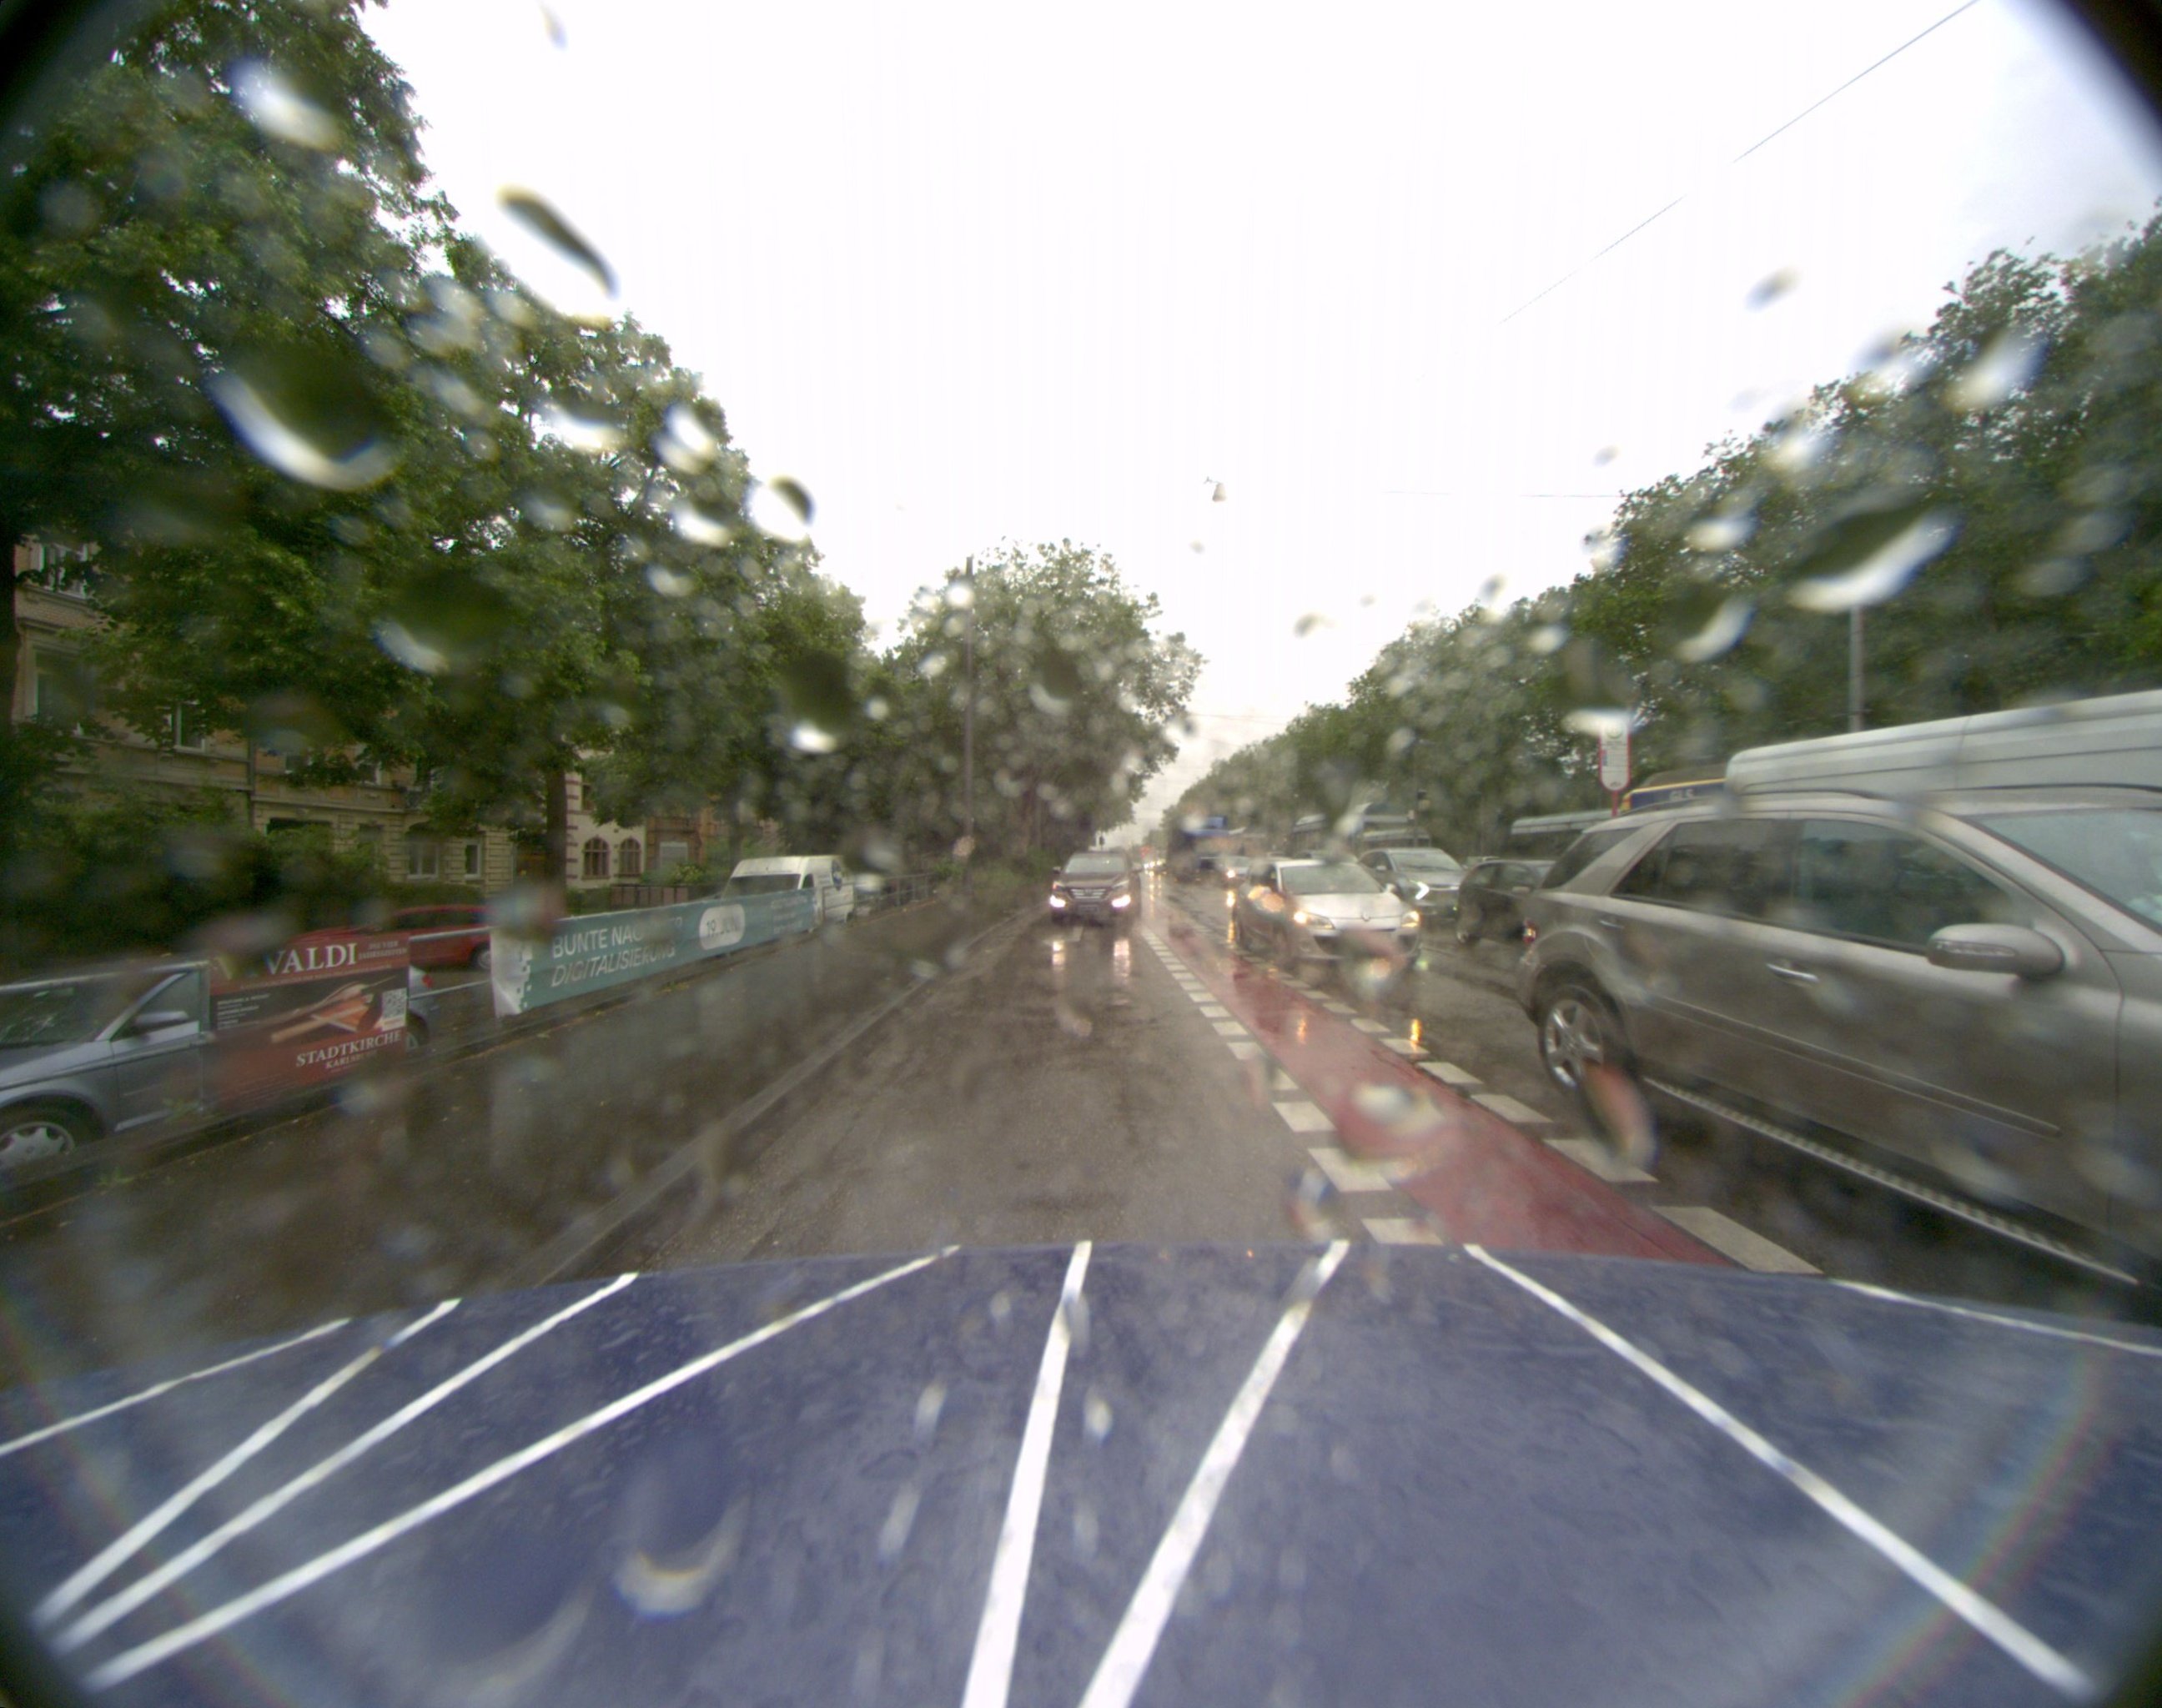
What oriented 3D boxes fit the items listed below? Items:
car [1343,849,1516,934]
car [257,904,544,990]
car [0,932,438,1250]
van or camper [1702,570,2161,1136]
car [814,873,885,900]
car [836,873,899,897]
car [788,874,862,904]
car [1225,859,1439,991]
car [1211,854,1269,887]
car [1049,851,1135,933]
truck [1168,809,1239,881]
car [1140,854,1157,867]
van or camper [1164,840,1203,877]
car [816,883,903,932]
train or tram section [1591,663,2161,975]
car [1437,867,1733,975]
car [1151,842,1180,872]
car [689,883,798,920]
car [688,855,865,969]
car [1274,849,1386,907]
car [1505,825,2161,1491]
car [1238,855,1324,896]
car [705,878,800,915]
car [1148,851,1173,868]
[{"bbox_3d":[7.433,0.709,16.775,1.919,1.614,4.454,0,0,2],"label":"car"},{"bbox_3d":[-14.619,1.938,16.745,4.439,1.444,1.894,0,-1,-32],"label":"car"},{"bbox_3d":[-7.226,1.576,5.447,1.736,1.530,4.074,-2,0,-1],"label":"car"},{"bbox_3d":[7.043,-0.008,4.319,2.164,3.123,5.850,0,0,-1],"label":"van or camper"},{"bbox_3d":[-15.319,2.122,50.270,4.007,1.557,1.995,-2,1,-34],"label":"car"},{"bbox_3d":[-15.532,2.239,55.361,4.007,1.455,1.908,-2,1,-34],"label":"car"},{"bbox_3d":[-15.714,2.123,46.669,4.006,1.600,1.821,-2,1,-31],"label":"car"},{"bbox_3d":[3.386,0.866,11.097,1.772,1.469,4.000,-2,0,0],"label":"car"},{"bbox_3d":[7.588,0.741,36.647,1.895,1.478,4.077,-1,0,-1],"label":"car"},{"bbox_3d":[0.303,0.784,17.730,1.756,1.657,3.678,-2,0,2],"label":"car"},{"bbox_3d":[7.272,-0.510,46.475,2.545,3.866,9.810,1,0,-1],"label":"truck"},{"bbox_3d":[7.101,0.674,79.909,1.467,1.185,3.615,-2,0,0],"label":"car"},{"bbox_3d":[7.639,0.307,57.115,1.998,2.555,6.431,-3,0,0],"label":"van or camper"},{"bbox_3d":[-7.828,1.855,27.292,1.972,1.345,4.383,-3,0,-3],"label":"car"},{"bbox_3d":[13.899,-0.478,11.278,3.522,3.492,13.658,-3,0,1],"label":"train or tram section"},{"bbox_3d":[6.746,0.802,10.770,1.467,1.111,4.087,-2,0,0],"label":"car"},{"bbox_3d":[7.263,0.238,65.564,1.998,2.412,5.727,-3,0,3],"label":"car"},{"bbox_3d":[-14.852,2.053,33.505,4.269,1.372,1.687,-1,1,-27],"label":"car"},{"bbox_3d":[-7.696,1.301,20.102,2.214,2.406,6.157,-3,0,-2],"label":"car"},{"bbox_3d":[7.573,0.666,23.586,1.999,1.611,4.319,-1,0,-1],"label":"car"},{"bbox_3d":[3.867,0.785,2.837,2.030,1.760,4.462,-2,0,0],"label":"car"},{"bbox_3d":[7.531,0.768,29.064,1.999,1.386,4.606,0,0,-1],"label":"car"},{"bbox_3d":[-15.520,1.989,36.005,4.005,1.496,1.655,-1,1,-24],"label":"car"},{"bbox_3d":[7.622,0.535,73.331,1.998,1.568,4.000,-2,0,1],"label":"car"}]
